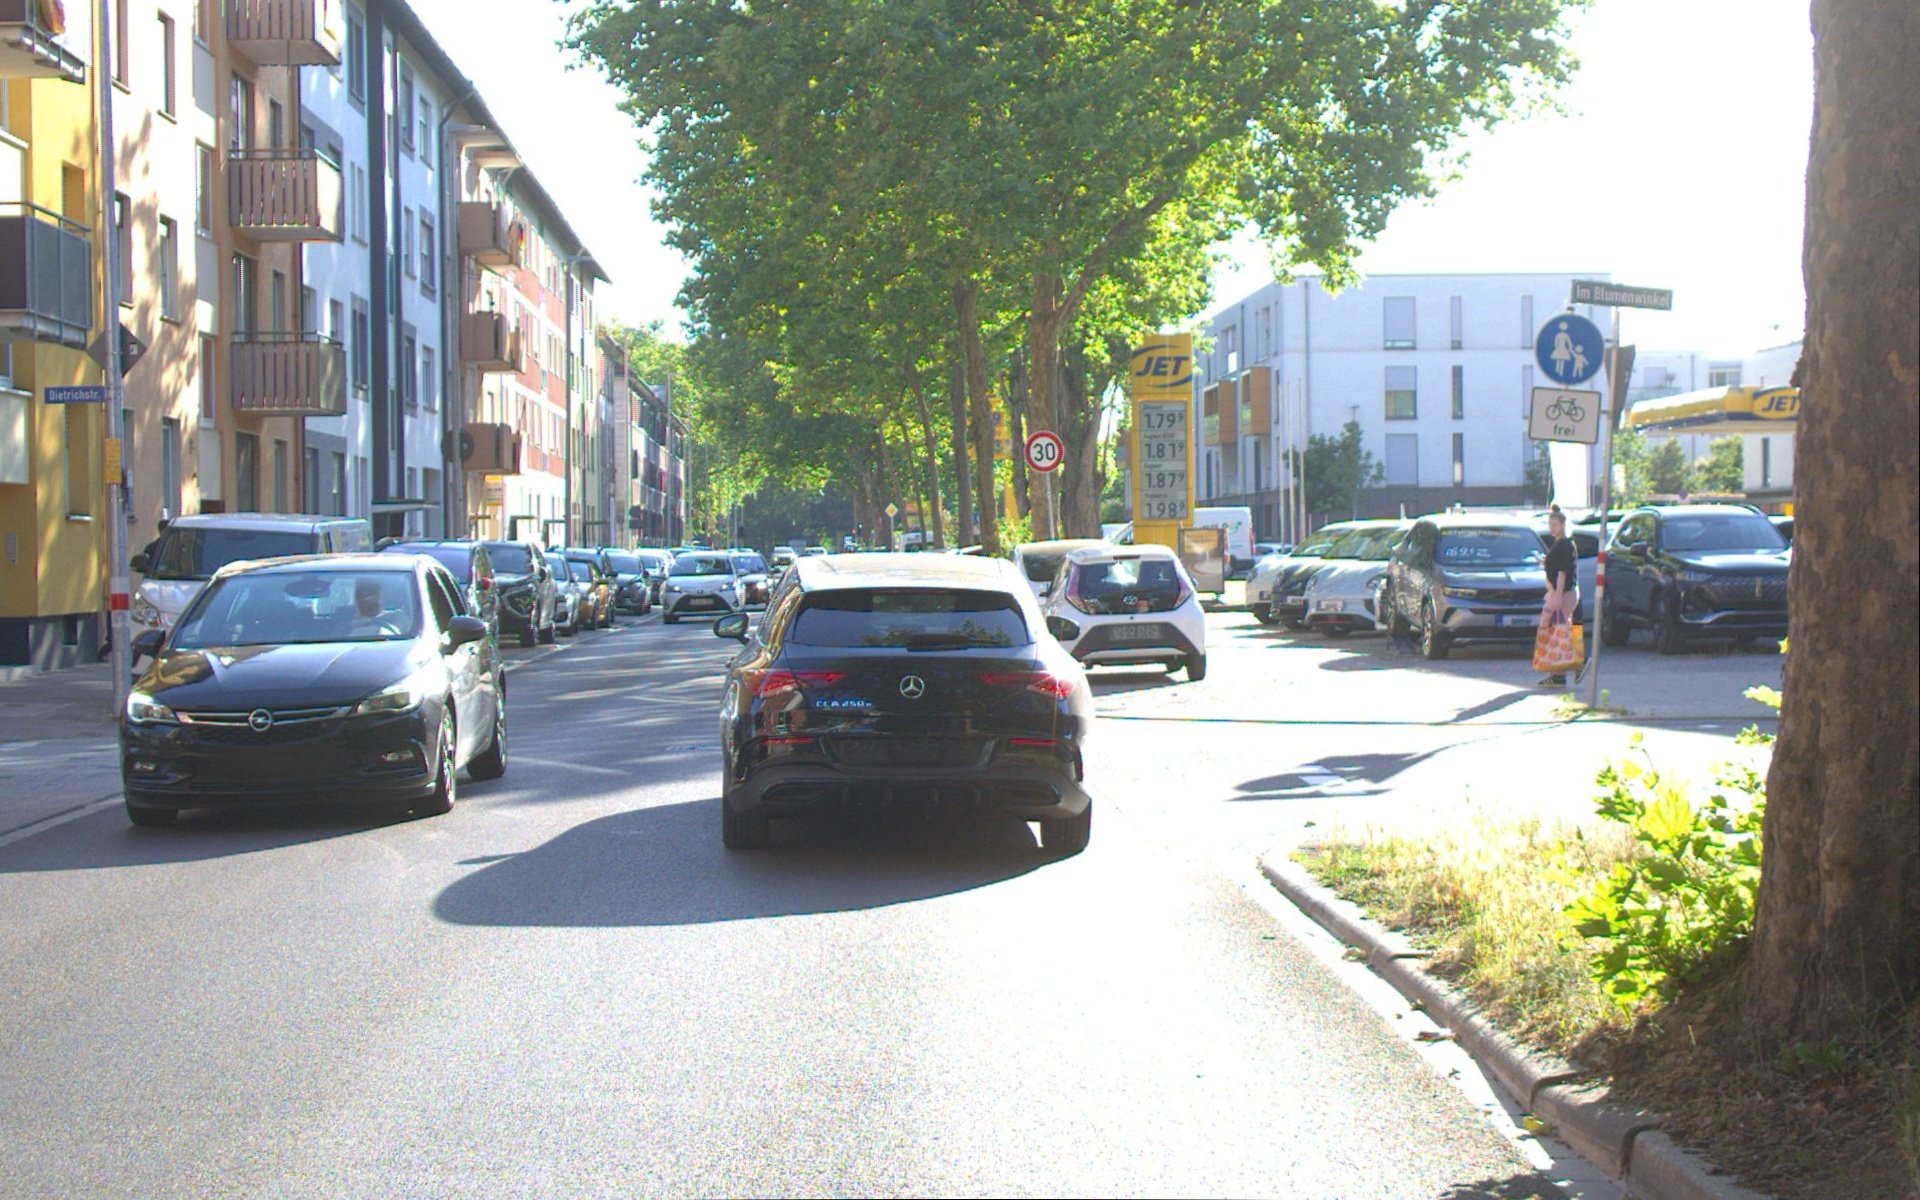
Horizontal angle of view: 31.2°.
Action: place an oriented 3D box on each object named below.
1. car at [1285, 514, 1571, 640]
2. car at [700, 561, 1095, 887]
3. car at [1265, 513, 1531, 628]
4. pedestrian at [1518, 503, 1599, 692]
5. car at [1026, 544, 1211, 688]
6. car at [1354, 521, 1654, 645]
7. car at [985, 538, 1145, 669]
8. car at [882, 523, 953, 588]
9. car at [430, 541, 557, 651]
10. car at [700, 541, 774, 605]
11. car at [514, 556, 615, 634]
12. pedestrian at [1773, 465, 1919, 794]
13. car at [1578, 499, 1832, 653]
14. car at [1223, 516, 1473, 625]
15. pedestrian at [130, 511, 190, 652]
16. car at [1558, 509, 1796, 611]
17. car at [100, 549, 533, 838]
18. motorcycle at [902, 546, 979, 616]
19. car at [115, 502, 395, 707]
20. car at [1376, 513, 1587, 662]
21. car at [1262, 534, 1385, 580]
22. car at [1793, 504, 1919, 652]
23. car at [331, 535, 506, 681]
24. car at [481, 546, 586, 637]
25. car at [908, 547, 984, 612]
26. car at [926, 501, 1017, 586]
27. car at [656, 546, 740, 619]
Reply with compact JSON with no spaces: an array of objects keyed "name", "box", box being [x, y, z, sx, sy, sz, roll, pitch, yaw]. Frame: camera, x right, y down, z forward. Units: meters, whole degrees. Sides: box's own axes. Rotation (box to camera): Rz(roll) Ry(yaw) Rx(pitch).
[{"name":"car","box":[6.553,-0.345,47.995,3.808,1.604,1.741,-3,2,-37]},{"name":"car","box":[-0.210,0.543,17.722,1.744,1.438,3.969,1,1,3]},{"name":"car","box":[6.546,-0.456,51.183,3.808,1.573,1.741,-3,2,-39]},{"name":"pedestrian","box":[5.538,-0.028,31.785,0.692,1.717,0.721,-1,1,12]},{"name":"car","box":[1.725,0.161,38.480,1.635,1.463,4.022,-2,0,-3]},{"name":"car","box":[7.201,-0.249,45.407,3.807,1.540,1.662,-2,1,-35]},{"name":"car","box":[1.334,0.025,45.291,1.810,1.533,4.583,-3,0,-1]},{"name":"car","box":[-1.386,-1.415,111.164,1.993,2.007,4.000,0,0,-5]},{"name":"car","box":[-7.321,-0.100,54.275,1.596,1.635,4.413,1,1,-3]},{"name":"car","box":[-5.591,-0.698,86.507,1.663,1.518,4.412,-2,1,-2]},{"name":"car","box":[-7.714,-0.119,67.352,1.596,1.429,4.217,1,1,-2]},{"name":"pedestrian","box":[5.032,0.150,18.954,0.767,1.755,0.664,-3,1,-21]},{"name":"car","box":[8.884,-0.308,41.337,1.825,1.726,4.369,-1,1,-4]},{"name":"car","box":[6.190,-0.487,54.709,3.808,1.573,1.746,-3,2,-39]},{"name":"pedestrian","box":[-10.239,-0.238,44.001,0.587,1.784,0.642,-1,1,-1]},{"name":"car","box":[11.597,-0.656,55.520,3.808,1.506,1.643,-3,2,-37]},{"name":"car","box":[-3.646,0.458,20.222,1.771,1.473,4.322,-1,1,-1]},{"name":"motorcycle","box":[-0.445,-0.434,78.731,1.641,1.552,0.612,1,0,-23]},{"name":"car","box":[-6.975,-0.005,34.524,1.734,1.900,5.209,0,1,0]},{"name":"car","box":[6.187,-0.180,41.209,1.752,1.664,4.158,-1,1,-2]},{"name":"car","box":[12.611,-1.486,119.313,3.986,1.524,1.807,0,-1,-3]},{"name":"car","box":[11.456,-0.297,41.081,1.727,1.679,4.181,-1,1,-4]},{"name":"car","box":[-6.982,0.058,44.695,1.745,1.781,4.550,1,1,-3]},{"name":"car","box":[-7.579,-0.178,61.349,1.547,1.518,4.005,1,1,-3]},{"name":"car","box":[-0.371,-0.515,85.965,1.722,1.552,3.601,1,0,-3]},{"name":"car","box":[0.206,-1.091,67.055,1.559,1.590,3.601,1,0,-3]},{"name":"car","box":[-5.639,-0.401,74.264,1.639,1.518,3.934,0,1,-2]}]
